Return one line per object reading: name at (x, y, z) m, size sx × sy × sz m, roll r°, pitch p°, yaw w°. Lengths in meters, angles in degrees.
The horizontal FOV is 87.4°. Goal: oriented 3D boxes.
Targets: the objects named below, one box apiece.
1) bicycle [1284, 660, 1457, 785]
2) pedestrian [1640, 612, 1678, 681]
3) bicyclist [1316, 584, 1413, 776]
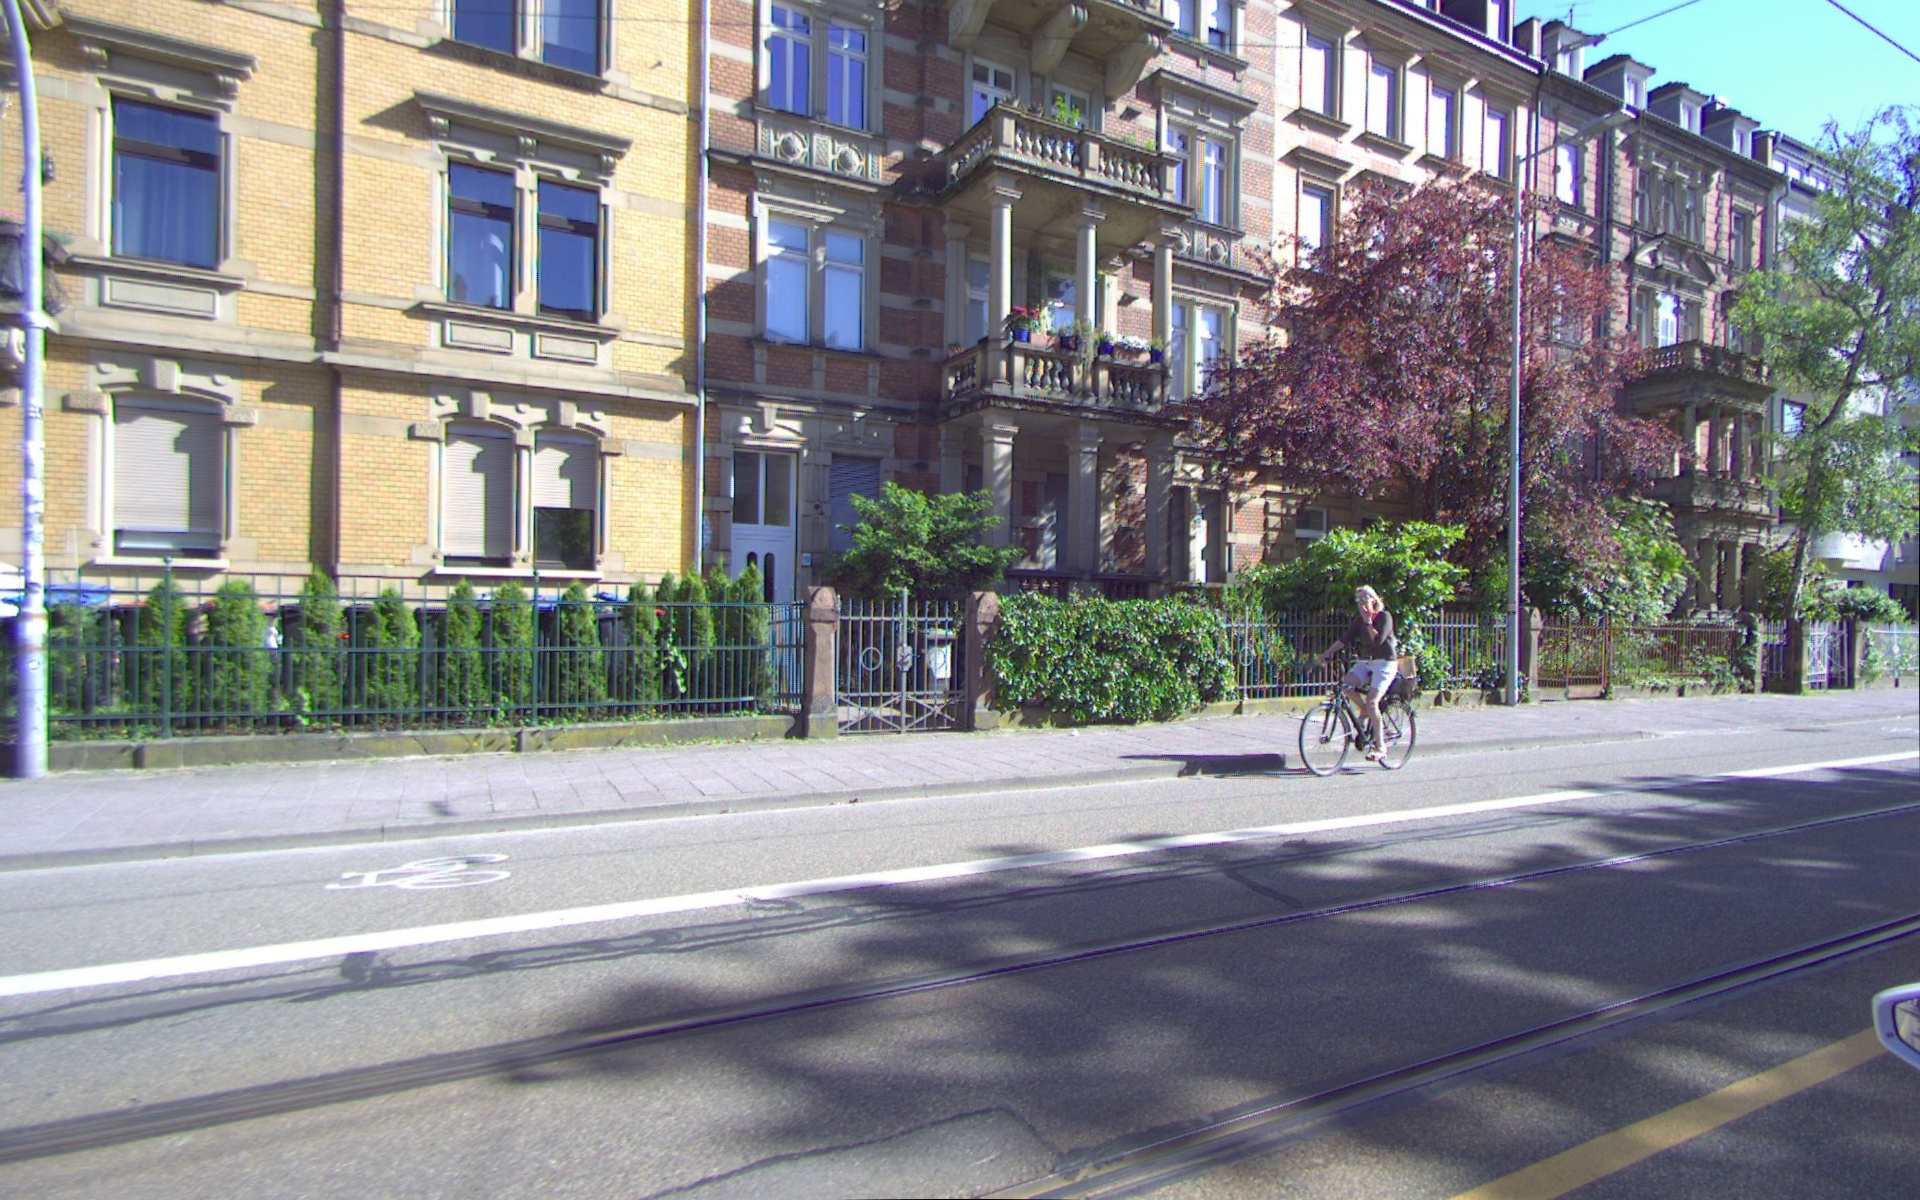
bicycle at (4.109, 1.179, 10.037) m, size 1.697 × 1.127 × 0.689 m, roll 1°, pitch -2°, yaw -28°
pedestrian at (17.554, 1.162, 25.229) m, size 0.599 × 1.696 × 0.511 m, roll 1°, pitch 1°, yaw -29°
bicyclist at (4.020, 0.775, 10.000) m, size 0.608 × 1.825 × 0.658 m, roll 2°, pitch -3°, yaw -28°
